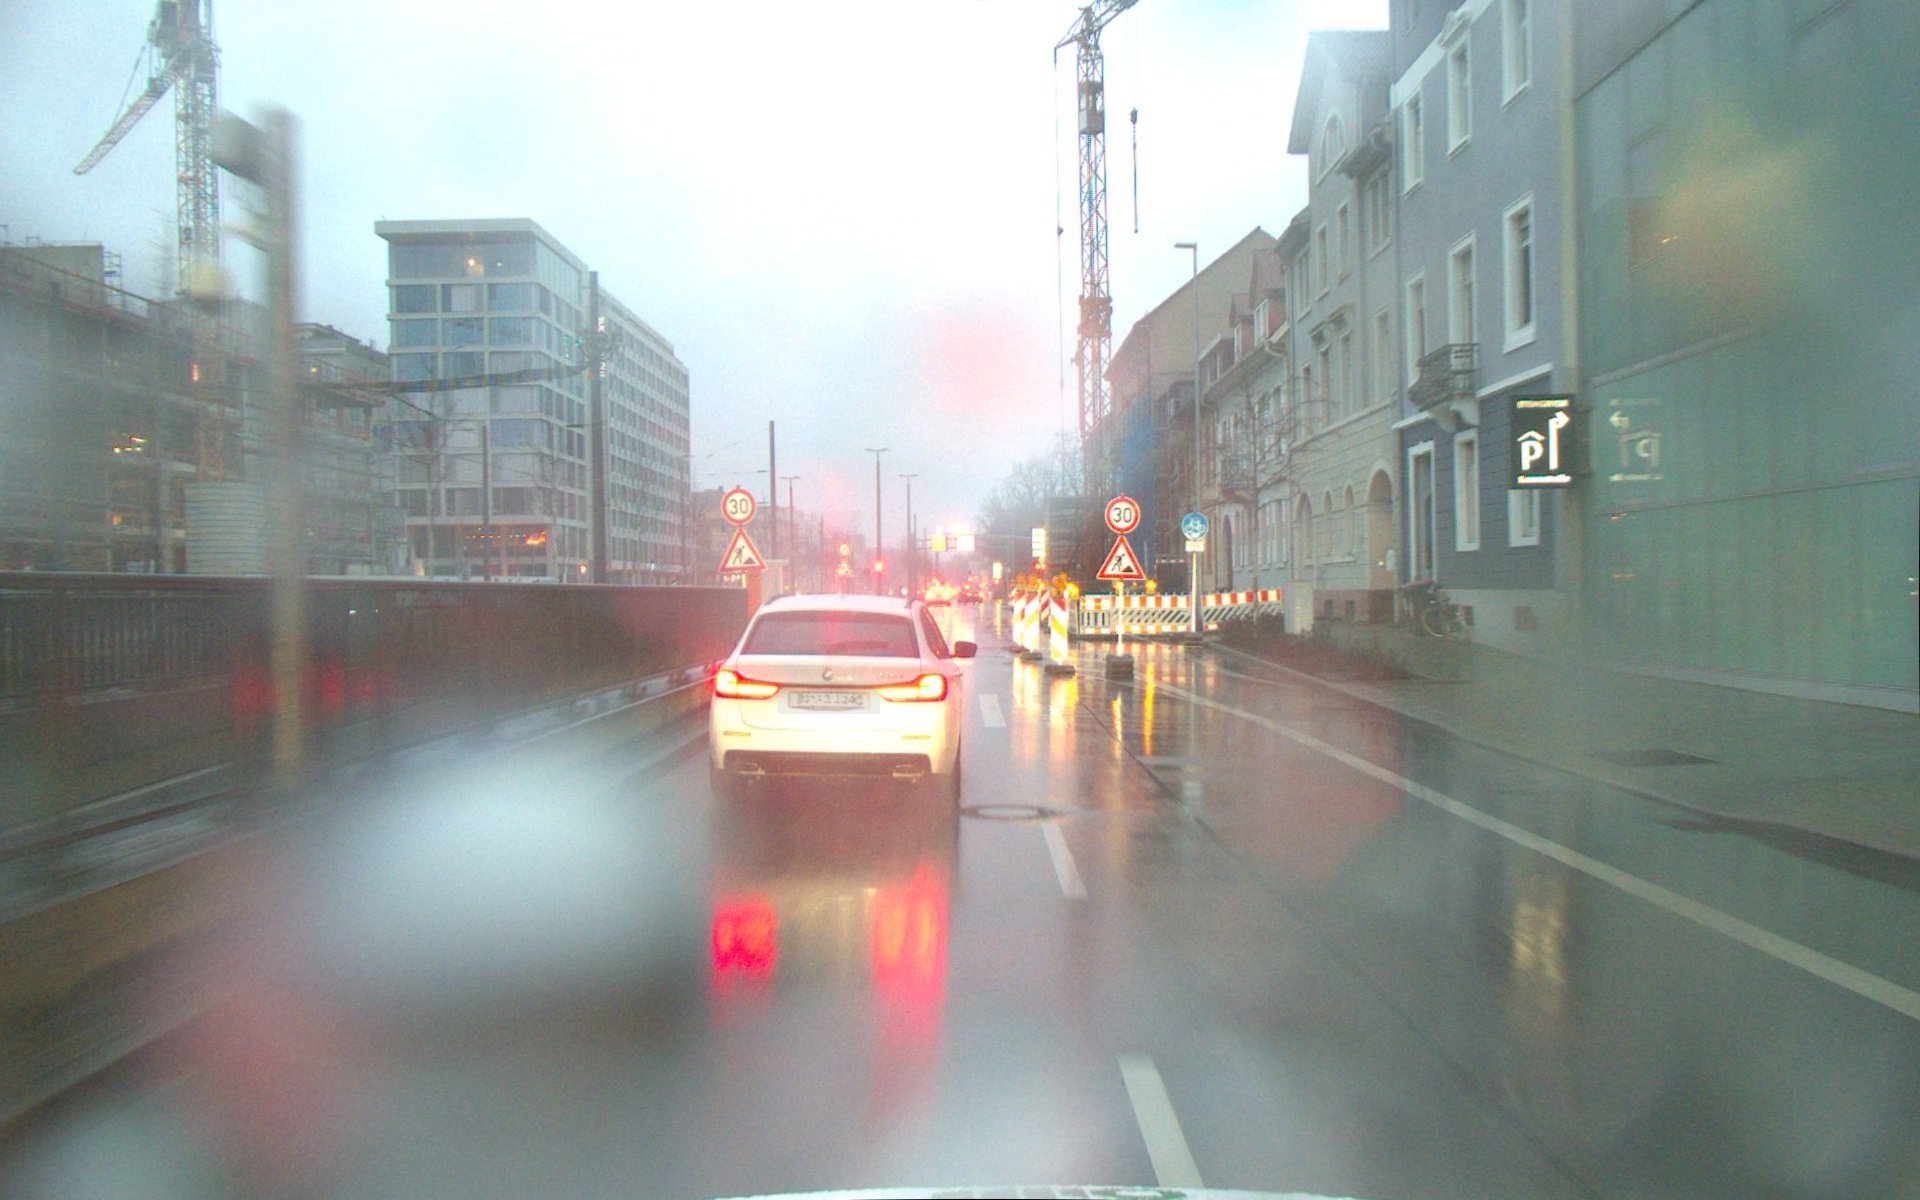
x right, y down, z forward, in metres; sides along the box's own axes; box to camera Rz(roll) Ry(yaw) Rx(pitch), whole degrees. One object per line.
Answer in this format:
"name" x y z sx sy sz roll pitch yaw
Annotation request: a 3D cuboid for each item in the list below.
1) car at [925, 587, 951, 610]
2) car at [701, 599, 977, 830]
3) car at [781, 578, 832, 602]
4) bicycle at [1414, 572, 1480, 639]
"car" -1.624 -0.134 122.014 1.862 1.670 4.000 0 0 0
"car" -0.807 0.755 13.374 1.814 1.491 4.946 0 0 0
"car" -12.903 -0.867 139.049 3.926 2.009 1.990 0 0 -19
"bicycle" 9.698 0.108 33.005 0.669 1.243 1.905 -4 0 -1
